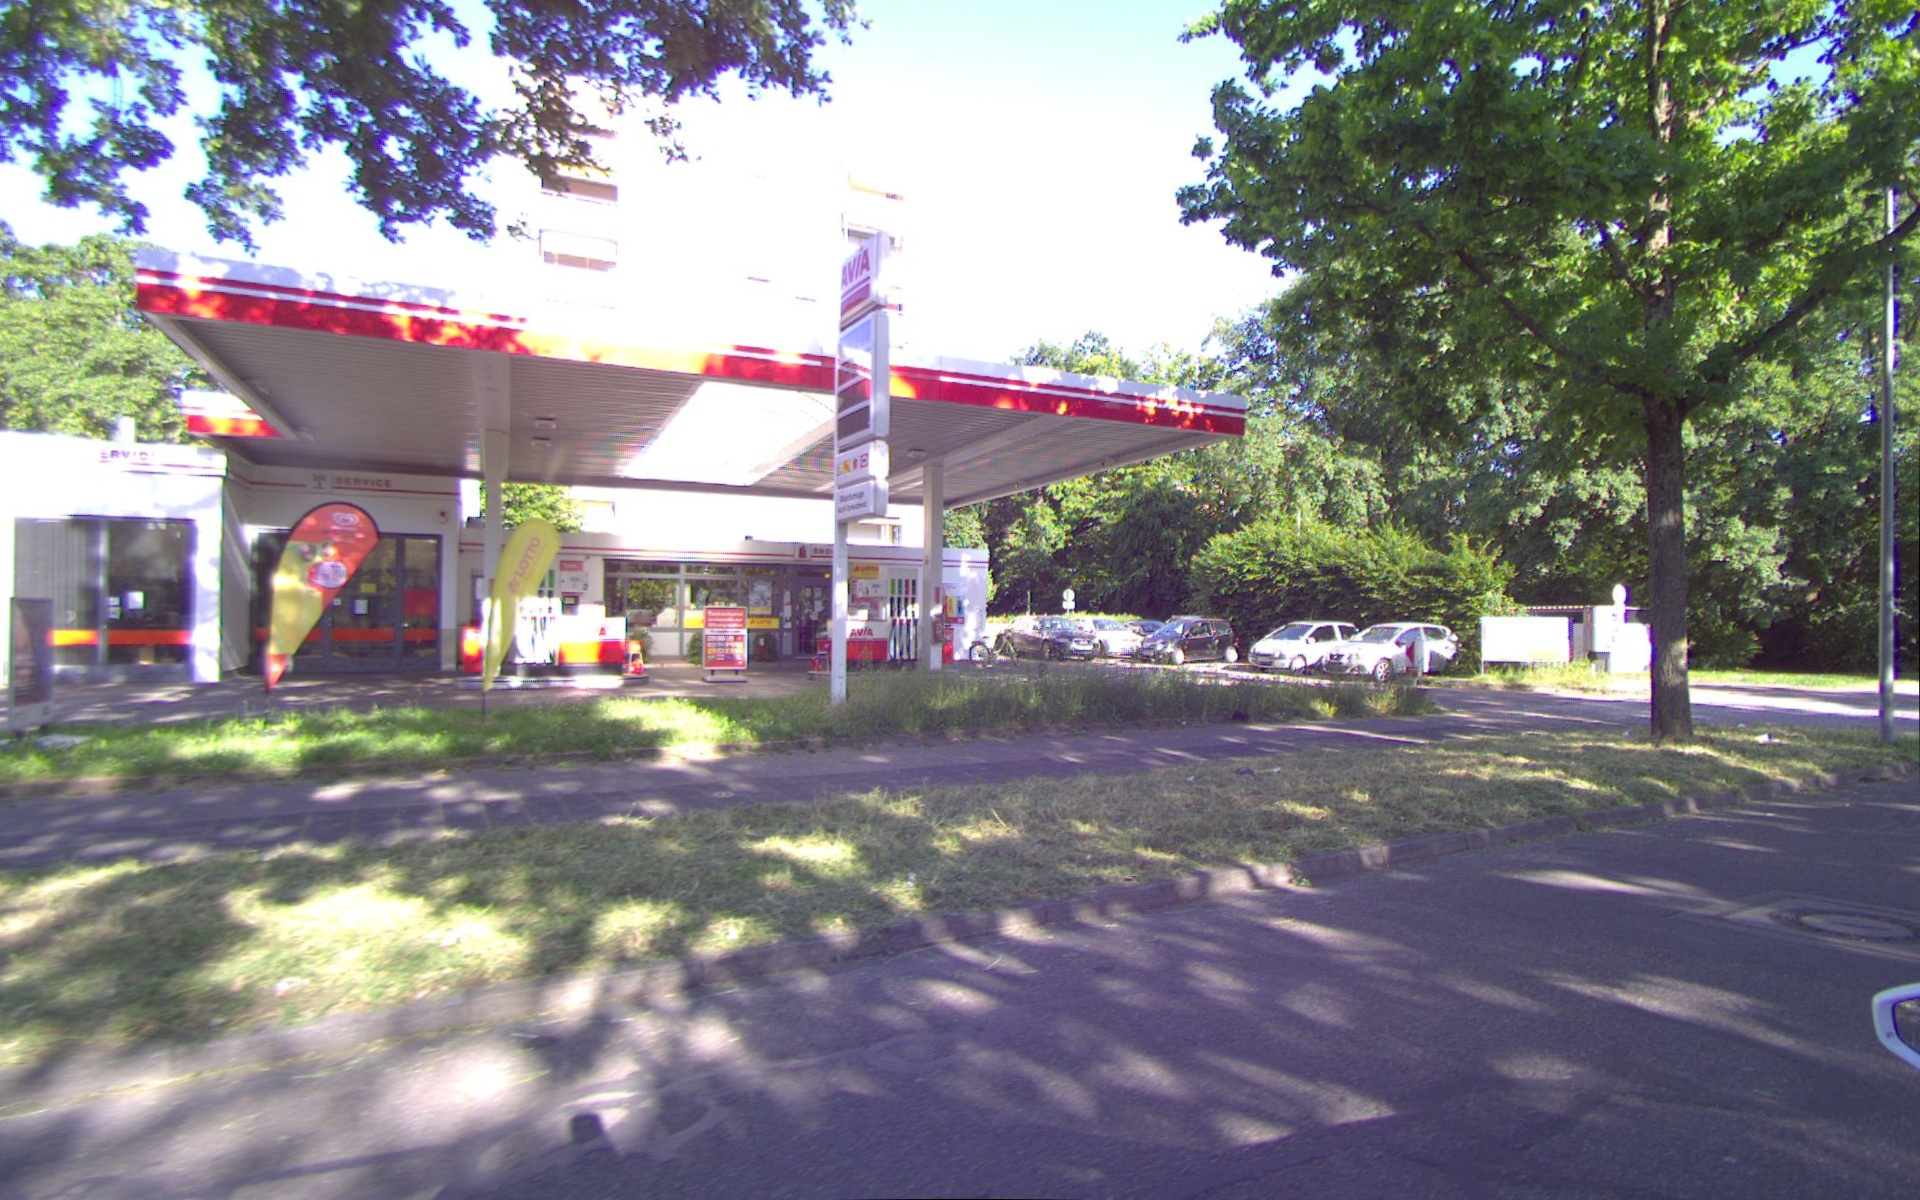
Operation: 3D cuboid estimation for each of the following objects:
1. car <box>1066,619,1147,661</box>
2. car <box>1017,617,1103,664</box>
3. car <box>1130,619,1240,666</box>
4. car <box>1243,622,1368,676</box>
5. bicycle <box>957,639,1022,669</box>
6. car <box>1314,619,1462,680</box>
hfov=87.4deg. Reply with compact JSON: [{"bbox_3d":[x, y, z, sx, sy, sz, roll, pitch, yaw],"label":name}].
[{"bbox_3d":[5.163,1.398,35.706,1.438,1.335,3.187,1,0,-22],"label":"car"},{"bbox_3d":[3.312,1.327,33.834,1.562,1.419,3.187,1,0,-22],"label":"car"},{"bbox_3d":[7.136,1.330,31.871,3.159,1.386,1.419,1,0,-23],"label":"car"},{"bbox_3d":[9.649,1.348,28.063,3.159,1.386,1.419,1,0,-23],"label":"car"},{"bbox_3d":[0.839,1.529,28.592,1.751,0.818,0.617,1,-1,-16],"label":"bicycle"},{"bbox_3d":[11.017,1.252,25.840,3.437,1.441,1.542,1,0,-23],"label":"car"}]
